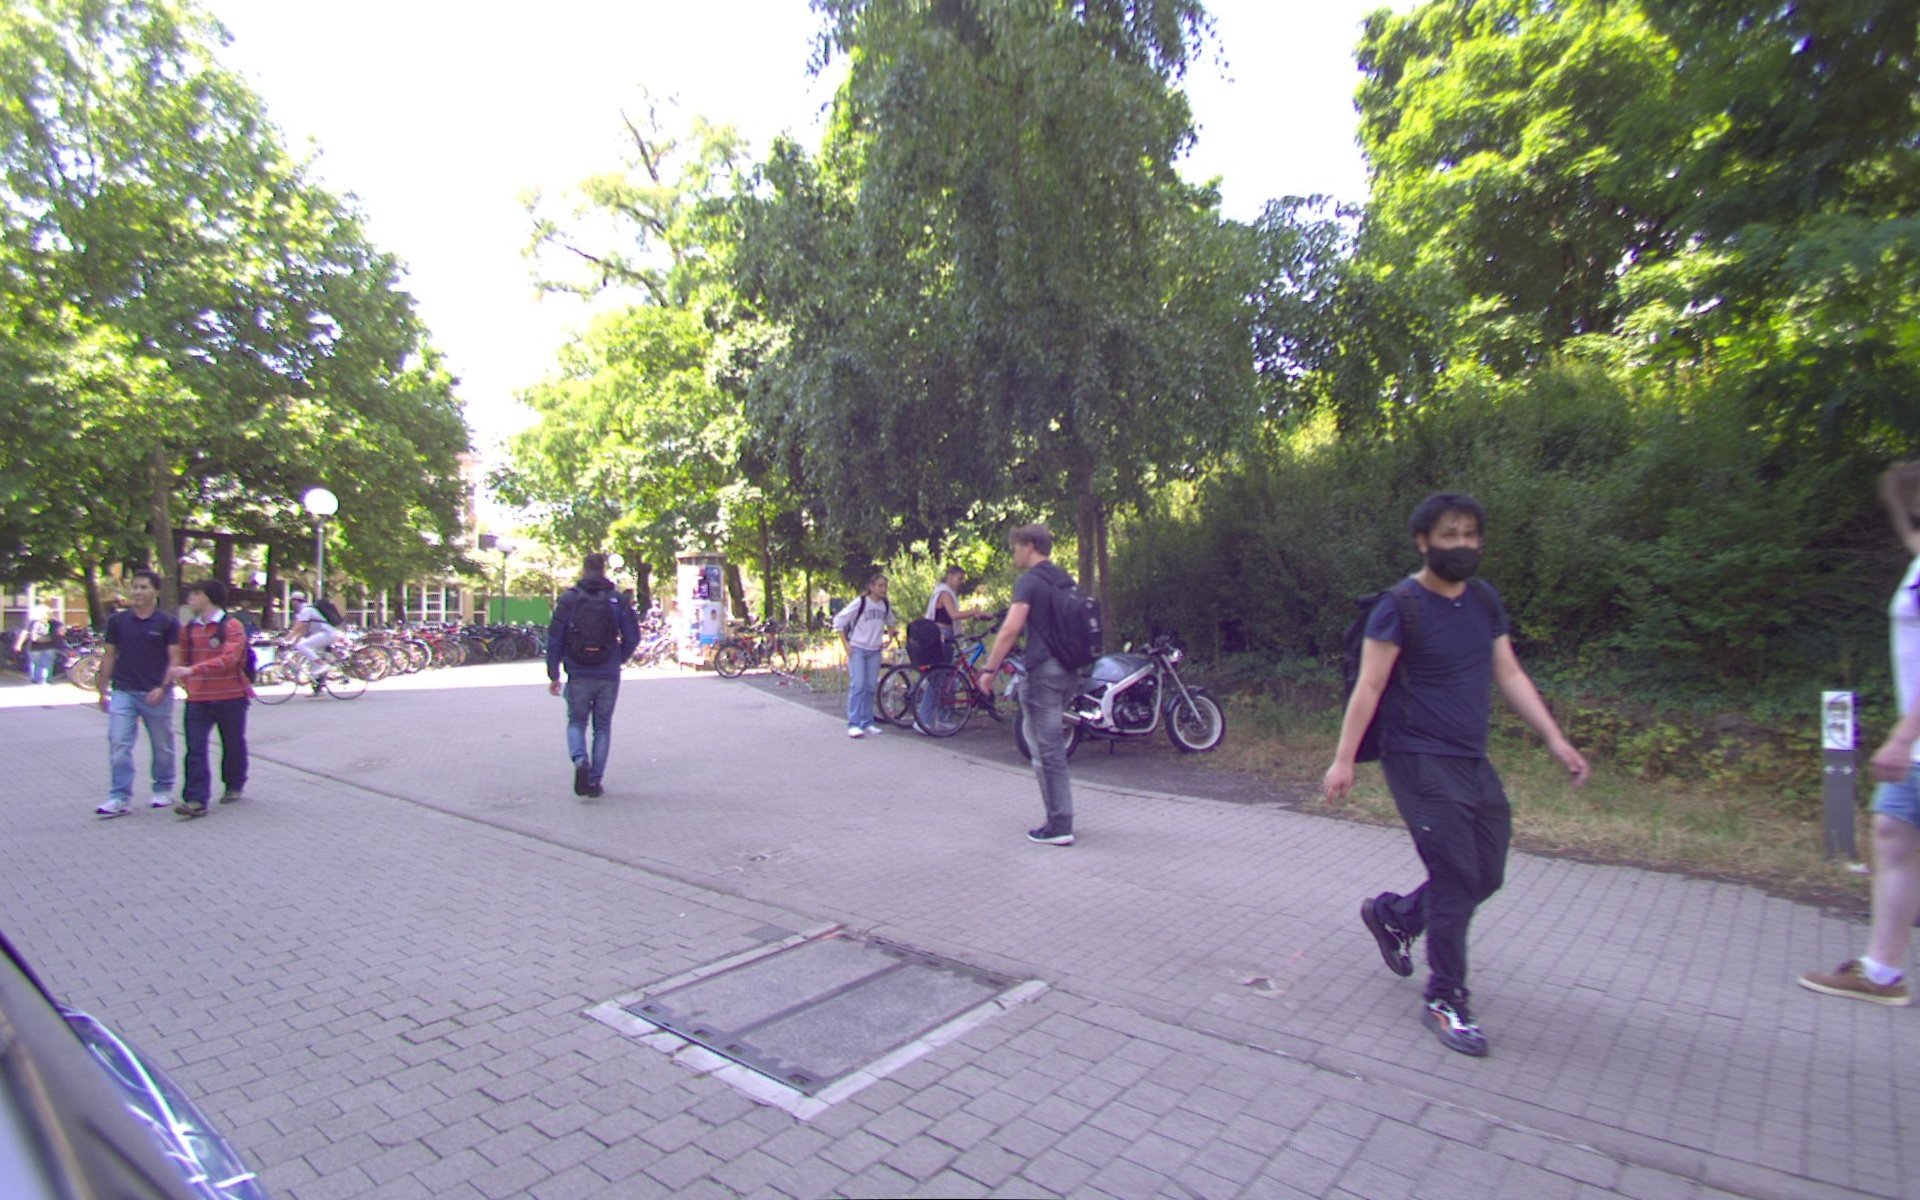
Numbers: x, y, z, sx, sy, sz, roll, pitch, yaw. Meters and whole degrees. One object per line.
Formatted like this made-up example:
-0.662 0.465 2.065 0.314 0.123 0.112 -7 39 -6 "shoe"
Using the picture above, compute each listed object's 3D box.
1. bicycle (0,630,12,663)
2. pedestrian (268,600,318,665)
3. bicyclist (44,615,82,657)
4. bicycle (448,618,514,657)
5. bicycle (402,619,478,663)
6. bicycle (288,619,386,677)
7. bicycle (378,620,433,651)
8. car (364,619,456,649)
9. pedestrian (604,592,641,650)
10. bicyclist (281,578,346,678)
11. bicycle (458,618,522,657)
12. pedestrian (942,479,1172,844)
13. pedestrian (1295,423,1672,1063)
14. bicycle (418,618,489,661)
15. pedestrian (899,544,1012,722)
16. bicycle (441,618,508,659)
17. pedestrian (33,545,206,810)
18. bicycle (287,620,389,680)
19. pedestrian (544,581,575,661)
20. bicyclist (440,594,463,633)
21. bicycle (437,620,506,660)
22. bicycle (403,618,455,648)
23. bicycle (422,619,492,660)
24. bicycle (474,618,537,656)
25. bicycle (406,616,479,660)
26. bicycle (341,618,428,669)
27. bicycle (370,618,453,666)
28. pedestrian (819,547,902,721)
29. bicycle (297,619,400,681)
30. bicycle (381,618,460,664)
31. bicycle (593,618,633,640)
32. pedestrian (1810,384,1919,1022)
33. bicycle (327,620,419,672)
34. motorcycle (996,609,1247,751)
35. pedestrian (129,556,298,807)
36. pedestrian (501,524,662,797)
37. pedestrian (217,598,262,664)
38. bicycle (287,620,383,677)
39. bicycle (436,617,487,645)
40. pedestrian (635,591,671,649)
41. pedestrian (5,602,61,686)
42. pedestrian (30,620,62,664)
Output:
-34.204 1.646 35.288 0.496 1.116 1.608 -4 -3 40 "bicycle"
-18.186 0.881 27.621 0.892 1.716 0.772 -1 0 -13 "pedestrian"
-38.292 1.526 43.211 0.763 1.729 0.911 0 -1 1 "bicyclist"
-14.073 1.092 29.774 1.671 1.092 0.475 -1 0 -14 "bicycle"
-13.602 1.057 26.508 1.671 1.092 0.475 -1 0 -14 "bicycle"
-12.652 0.962 20.606 1.670 1.092 0.475 -1 0 -30 "bicycle"
-20.890 1.345 38.109 1.884 1.116 0.502 -1 0 8 "bicycle"
-32.926 1.991 60.672 1.836 1.629 4.480 0 0 38 "car"
-10.841 0.679 32.556 0.824 1.829 0.882 -1 0 3 "pedestrian"
-10.517 0.441 16.462 0.594 1.580 0.713 -1 0 36 "bicyclist"
-14.105 1.126 30.386 1.671 1.092 0.475 -1 0 -14 "bicycle"
0.553 0.316 5.836 1.119 1.887 0.676 -1 0 36 "pedestrian"
1.698 0.388 3.304 0.904 1.737 0.676 -2 0 44 "pedestrian"
-13.860 1.071 27.710 1.671 1.092 0.475 -1 0 -14 "bicycle"
-0.053 0.328 10.416 0.921 1.737 0.679 -1 -2 -27 "pedestrian"
-14.005 1.104 29.249 1.671 1.092 0.475 -1 0 -14 "bicycle"
-6.288 0.547 7.625 0.675 1.849 0.944 -1 -1 -15 "pedestrian"
-12.376 0.979 20.158 1.695 1.092 0.475 -1 0 -35 "bicycle"
-9.442 0.488 23.894 0.603 1.849 1.053 -1 0 -18 "pedestrian"
-25.416 0.669 50.592 0.854 1.906 0.807 0 -1 -39 "bicyclist"
-13.870 1.126 28.756 1.671 1.092 0.475 -1 0 -14 "bicycle"
-20.925 1.303 39.904 1.886 1.116 0.501 -1 0 11 "bicycle"
-13.992 1.090 28.172 1.671 1.092 0.475 -1 0 -14 "bicycle"
-13.978 1.131 31.149 1.673 1.092 0.475 -1 0 -7 "bicycle"
-13.777 1.009 26.970 1.671 1.092 0.475 -1 0 -14 "bicycle"
-13.234 0.995 23.316 1.673 1.092 0.475 -1 0 -8 "bicycle"
-13.241 1.017 24.467 1.672 1.092 0.475 -1 0 -11 "bicycle"
-1.017 0.348 10.499 0.722 1.737 0.685 -1 -1 4 "pedestrian"
-11.951 0.950 19.803 1.672 1.118 0.475 -1 0 -37 "bicycle"
-13.582 1.031 25.501 1.671 1.092 0.475 -1 0 -14 "bicycle"
-18.351 1.540 53.533 2.010 1.116 0.500 -1 0 14 "bicycle"
3.340 0.299 3.082 1.080 1.895 0.717 -1 0 36 "pedestrian"
-12.882 1.002 22.243 1.673 1.092 0.475 -1 0 -8 "bicycle"
1.348 0.651 8.538 1.994 1.055 0.475 -3 0 -7 "motorcycle"
-5.573 0.572 7.620 0.707 1.737 1.068 -1 -1 -17 "pedestrian"
-2.788 0.413 7.579 0.874 1.871 1.034 -2 0 -7 "pedestrian"
-20.457 0.876 28.747 0.701 1.820 0.768 -1 0 7 "pedestrian"
-12.959 0.995 21.031 1.670 1.092 0.475 -1 0 -30 "bicycle"
-20.767 1.289 42.179 1.984 1.116 0.501 -1 0 11 "bicycle"
-9.859 0.625 32.522 0.760 1.817 0.983 -1 0 4 "pedestrian"
-19.256 0.908 21.042 0.757 1.692 0.909 0 -2 -37 "pedestrian"
-35.283 1.607 39.091 0.868 1.668 0.704 0 -2 -38 "pedestrian"
